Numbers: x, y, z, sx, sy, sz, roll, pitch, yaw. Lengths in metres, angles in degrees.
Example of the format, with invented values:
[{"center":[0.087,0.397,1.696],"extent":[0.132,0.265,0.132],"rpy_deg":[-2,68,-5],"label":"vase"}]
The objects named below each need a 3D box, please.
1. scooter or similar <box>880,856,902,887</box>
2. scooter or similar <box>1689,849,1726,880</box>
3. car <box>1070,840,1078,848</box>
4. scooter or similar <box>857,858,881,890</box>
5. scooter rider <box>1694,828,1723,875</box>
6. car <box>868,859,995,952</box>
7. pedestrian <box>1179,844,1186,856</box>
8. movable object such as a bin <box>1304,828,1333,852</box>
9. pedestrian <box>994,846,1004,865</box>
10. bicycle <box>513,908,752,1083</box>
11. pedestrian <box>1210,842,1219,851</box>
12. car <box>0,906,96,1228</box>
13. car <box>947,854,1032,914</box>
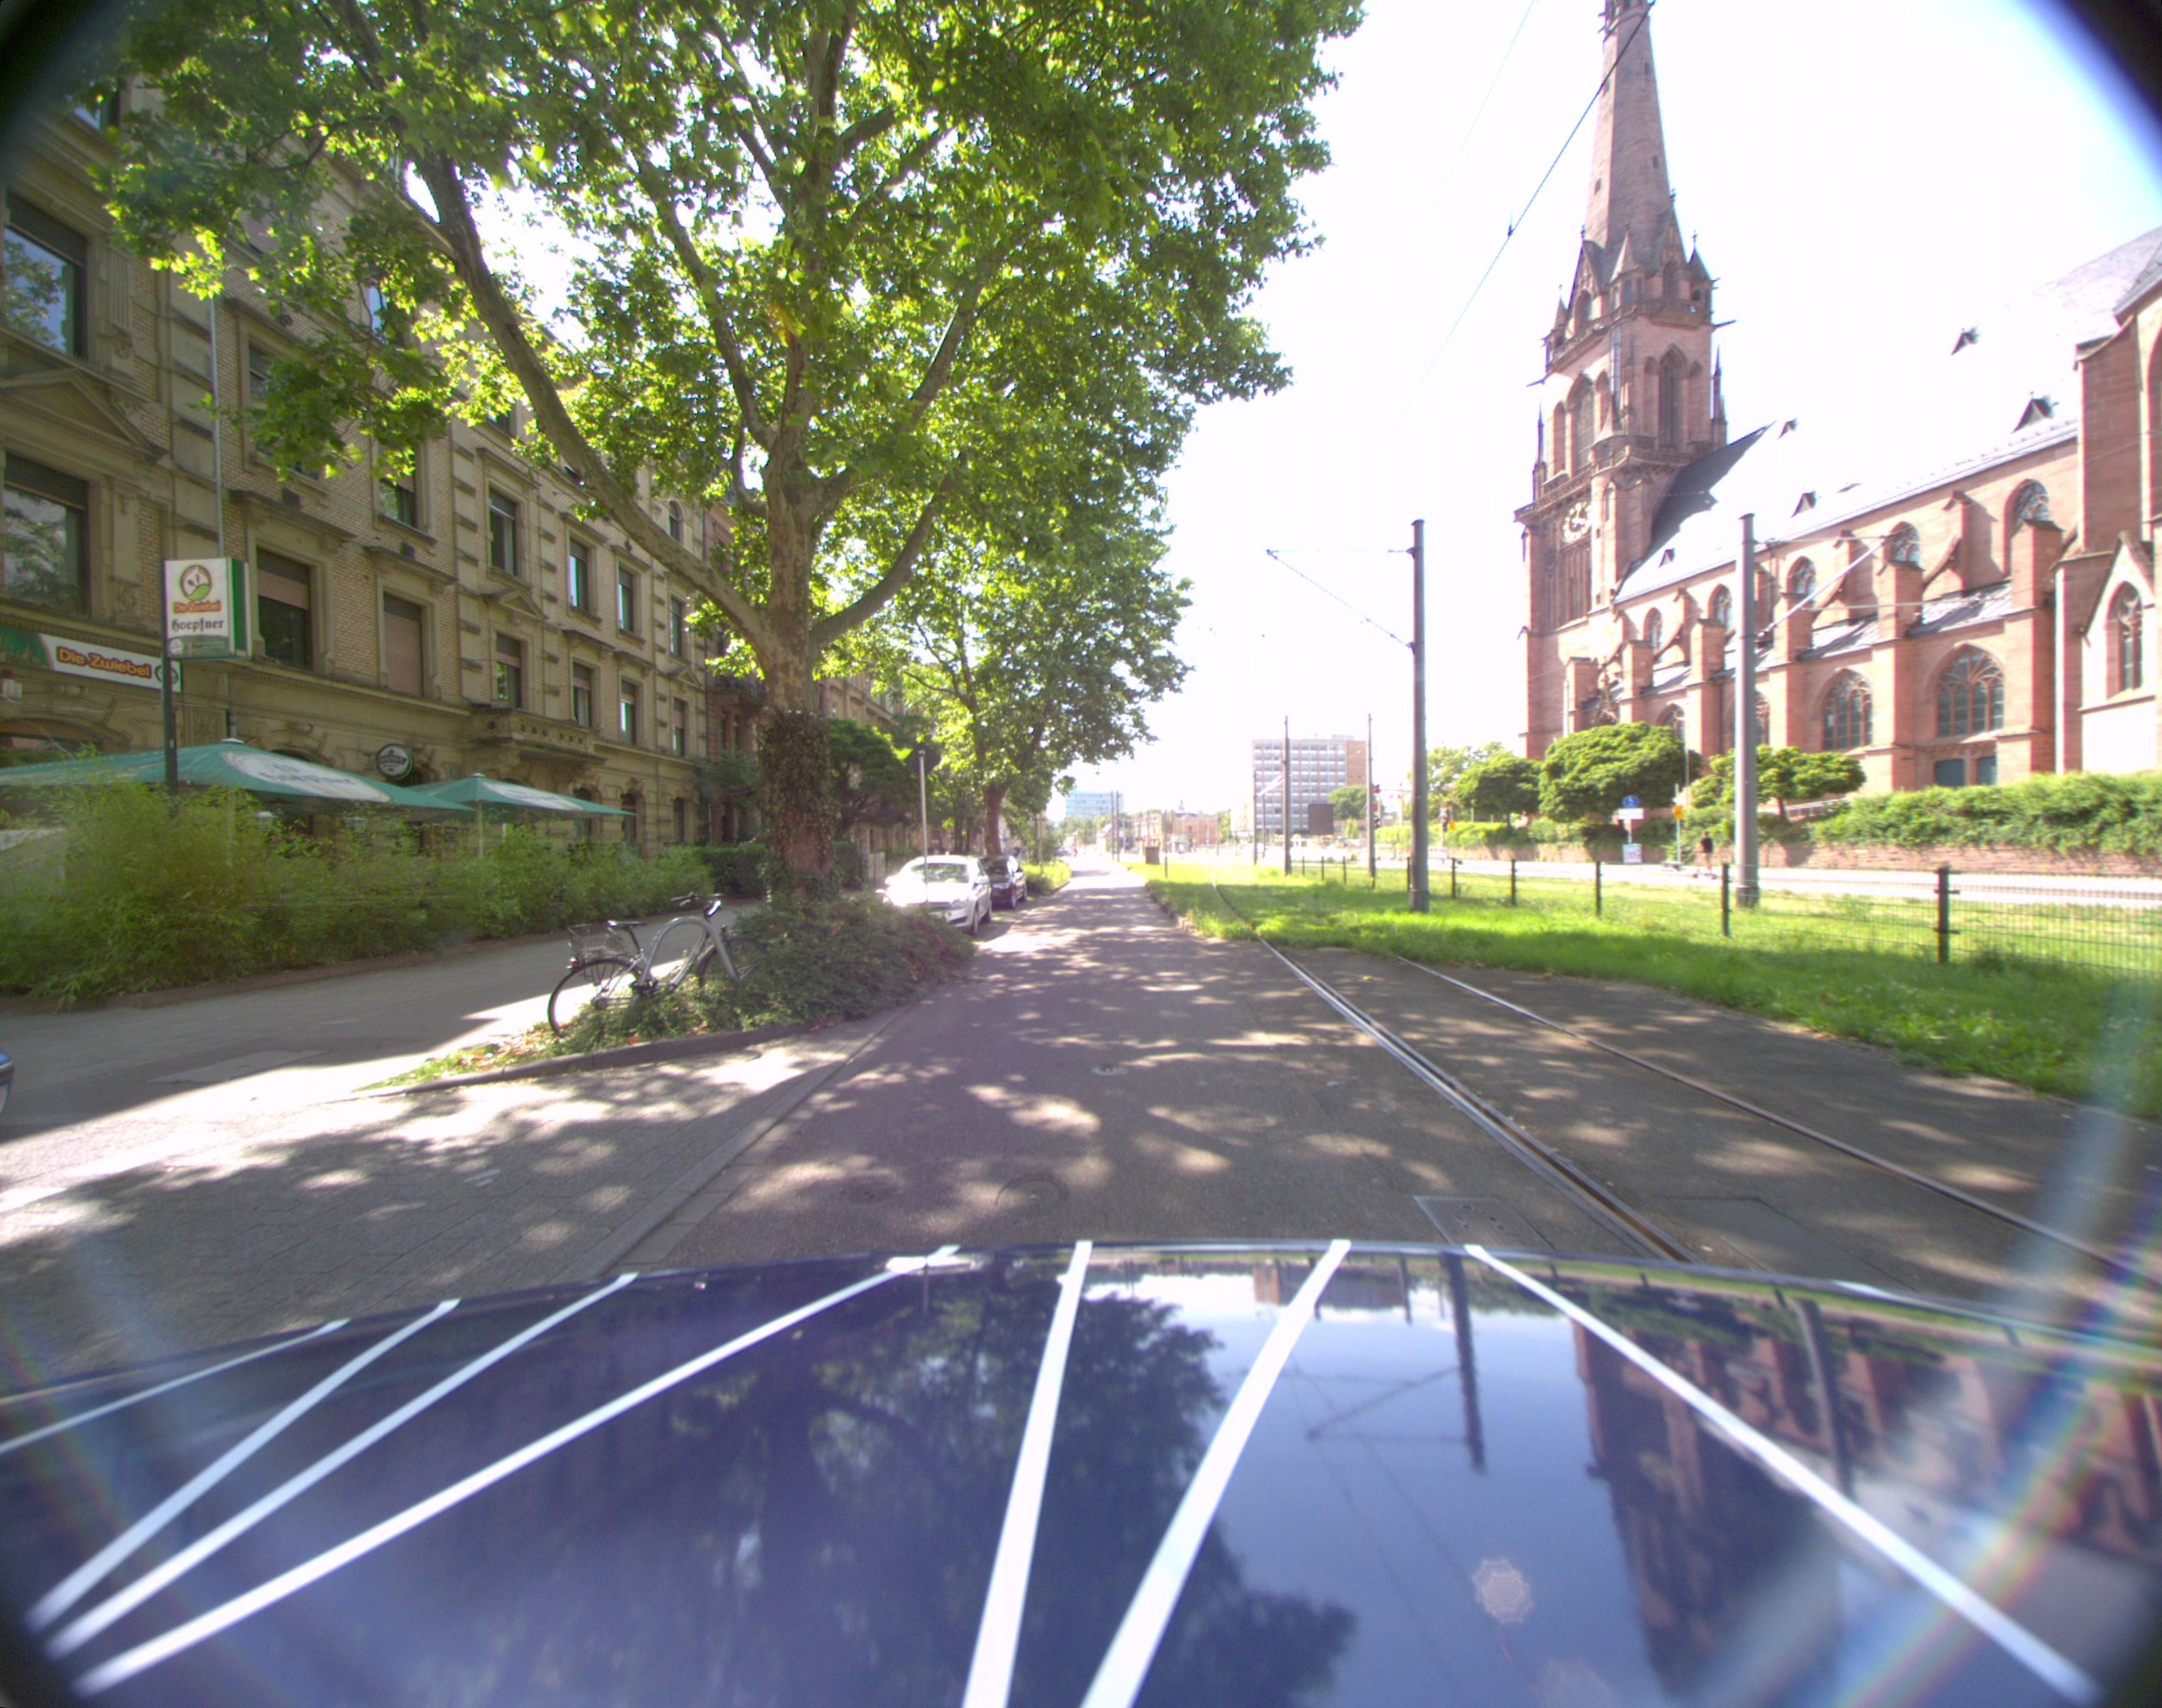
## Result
[{"center":[-8.191,0.755,32.783],"extent":[0.583,1.275,1.145],"rpy_deg":[-1,1,3],"label":"scooter or similar"},{"center":[25.244,0.410,30.618],"extent":[1.272,1.197,0.656],"rpy_deg":[-1,1,-25],"label":"scooter or similar"},{"center":[-1.786,-2.592,203.564],"extent":[1.998,2.002,3.999],"rpy_deg":[-1,1,1],"label":"car"},{"center":[-8.394,0.776,30.062],"extent":[0.583,1.240,1.145],"rpy_deg":[-1,1,1],"label":"scooter or similar"},{"center":[25.320,-0.099,30.651],"extent":[0.670,1.856,0.663],"rpy_deg":[-1,1,-24],"label":"scooter rider"},{"center":[-2.806,0.897,15.261],"extent":[1.838,1.499,4.490],"rpy_deg":[-1,1,-3],"label":"car"},{"center":[13.979,-0.598,104.931],"extent":[0.860,1.644,0.759],"rpy_deg":[-1,1,1],"label":"pedestrian"},{"center":[37.868,-2.245,120.939],"extent":[3.340,3.859,2.931],"rpy_deg":[-1,1,-33],"label":"movable object such as a bin"},{"center":[-7.693,0.123,71.701],"extent":[0.797,1.708,0.967],"rpy_deg":[-1,1,0],"label":"pedestrian"},{"center":[-3.539,1.053,6.149],"extent":[0.421,1.099,1.619],"rpy_deg":[0,1,33],"label":"bicycle"},{"center":[25.408,-1.399,144.954],"extent":[1.426,1.796,1.422],"rpy_deg":[-1,1,-3],"label":"pedestrian"},{"center":[-6.581,1.000,2.230],"extent":[4.096,1.401,1.885],"rpy_deg":[-1,1,-19],"label":"car"},{"center":[-2.560,0.791,22.349],"extent":[1.838,1.499,4.643],"rpy_deg":[-1,1,1],"label":"car"}]
